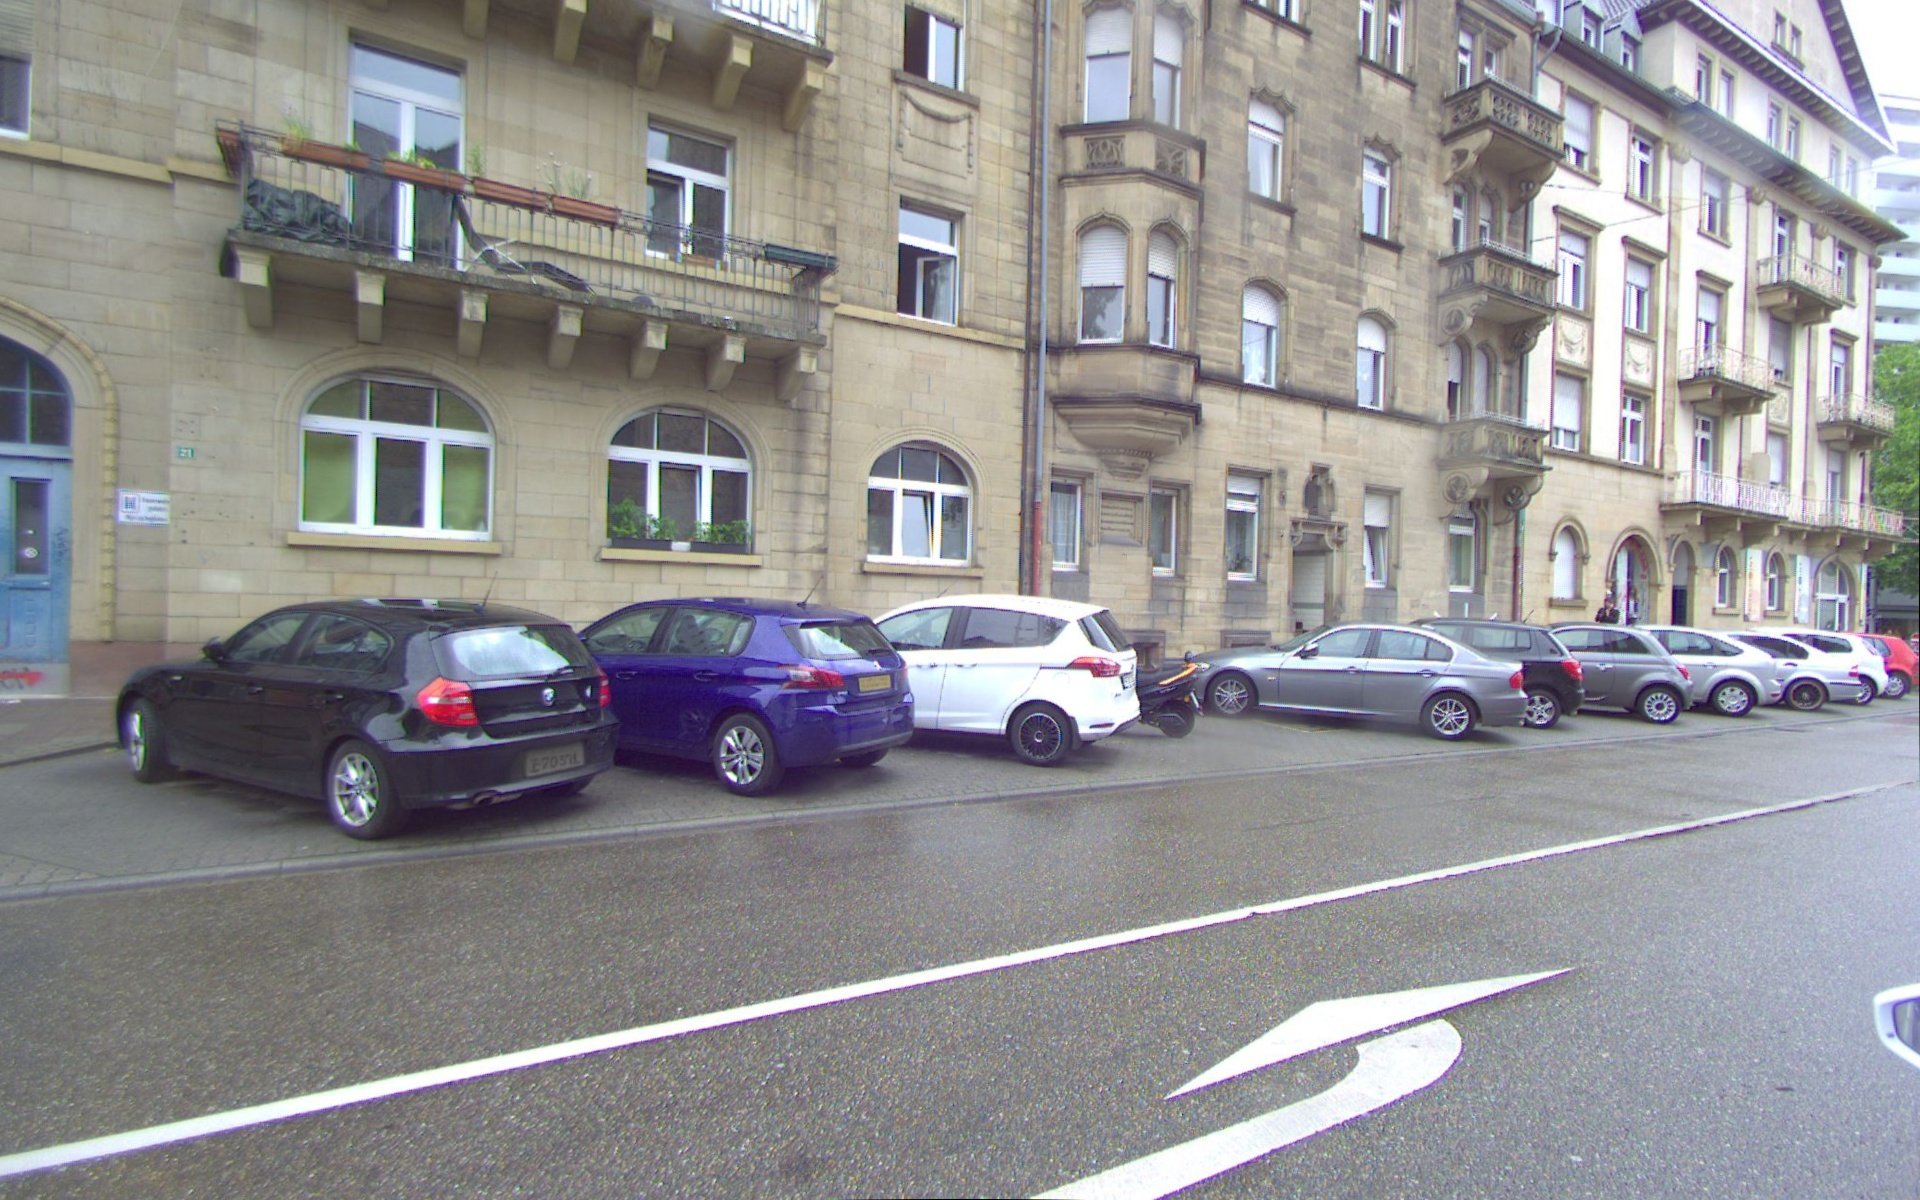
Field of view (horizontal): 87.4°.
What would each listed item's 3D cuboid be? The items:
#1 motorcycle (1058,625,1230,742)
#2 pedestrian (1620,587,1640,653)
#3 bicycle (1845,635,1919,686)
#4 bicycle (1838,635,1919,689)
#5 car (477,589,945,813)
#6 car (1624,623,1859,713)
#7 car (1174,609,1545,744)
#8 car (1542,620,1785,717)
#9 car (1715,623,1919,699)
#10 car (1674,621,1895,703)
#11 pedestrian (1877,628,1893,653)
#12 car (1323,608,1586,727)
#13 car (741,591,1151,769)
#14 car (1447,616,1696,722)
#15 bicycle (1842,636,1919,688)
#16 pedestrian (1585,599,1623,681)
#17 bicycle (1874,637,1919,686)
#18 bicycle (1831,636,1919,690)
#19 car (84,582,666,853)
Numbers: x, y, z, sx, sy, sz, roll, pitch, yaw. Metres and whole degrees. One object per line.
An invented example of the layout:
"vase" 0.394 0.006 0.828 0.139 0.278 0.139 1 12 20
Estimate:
"motorcycle" 2.155 0.947 11.814 1.837 1.177 0.633 4 1 23
"pedestrian" 18.945 0.564 28.403 0.343 1.846 0.364 2 -1 -32
"bicycle" 25.091 1.615 27.086 0.601 1.283 1.754 1 -1 -31
"bicycle" 23.843 1.581 25.853 0.492 1.283 1.801 1 -1 -31
"car" -2.301 0.738 9.040 3.972 1.594 1.795 1 -1 31
"car" 15.562 1.302 20.208 3.337 1.578 1.705 1 0 21
"car" 5.303 0.958 13.821 4.457 1.565 1.689 1 0 17
"car" 12.855 1.200 18.607 3.337 1.578 1.705 1 0 21
"car" 20.108 1.394 23.673 3.337 1.578 1.705 1 0 21
"car" 17.840 1.299 21.923 3.337 1.578 1.705 1 0 21
"pedestrian" 58.096 2.534 63.080 0.631 1.550 0.443 1 0 -4
"car" 7.562 0.982 15.696 3.484 1.619 1.605 1 0 21
"car" -0.107 0.742 10.690 3.964 1.576 1.799 1 -1 20
"car" 10.256 1.109 17.126 3.337 1.578 1.652 1 0 21
"bicycle" 24.359 1.606 26.313 0.492 1.283 1.801 1 -1 -31
"pedestrian" 16.313 0.998 25.444 0.647 2.040 0.565 1 0 -30
"bicycle" 26.018 1.682 27.206 0.601 1.283 1.754 1 -1 -31
"bicycle" 23.388 1.576 25.560 0.516 1.283 1.754 1 -1 -31
"car" -4.341 0.677 7.425 3.968 1.532 1.797 1 -1 26
